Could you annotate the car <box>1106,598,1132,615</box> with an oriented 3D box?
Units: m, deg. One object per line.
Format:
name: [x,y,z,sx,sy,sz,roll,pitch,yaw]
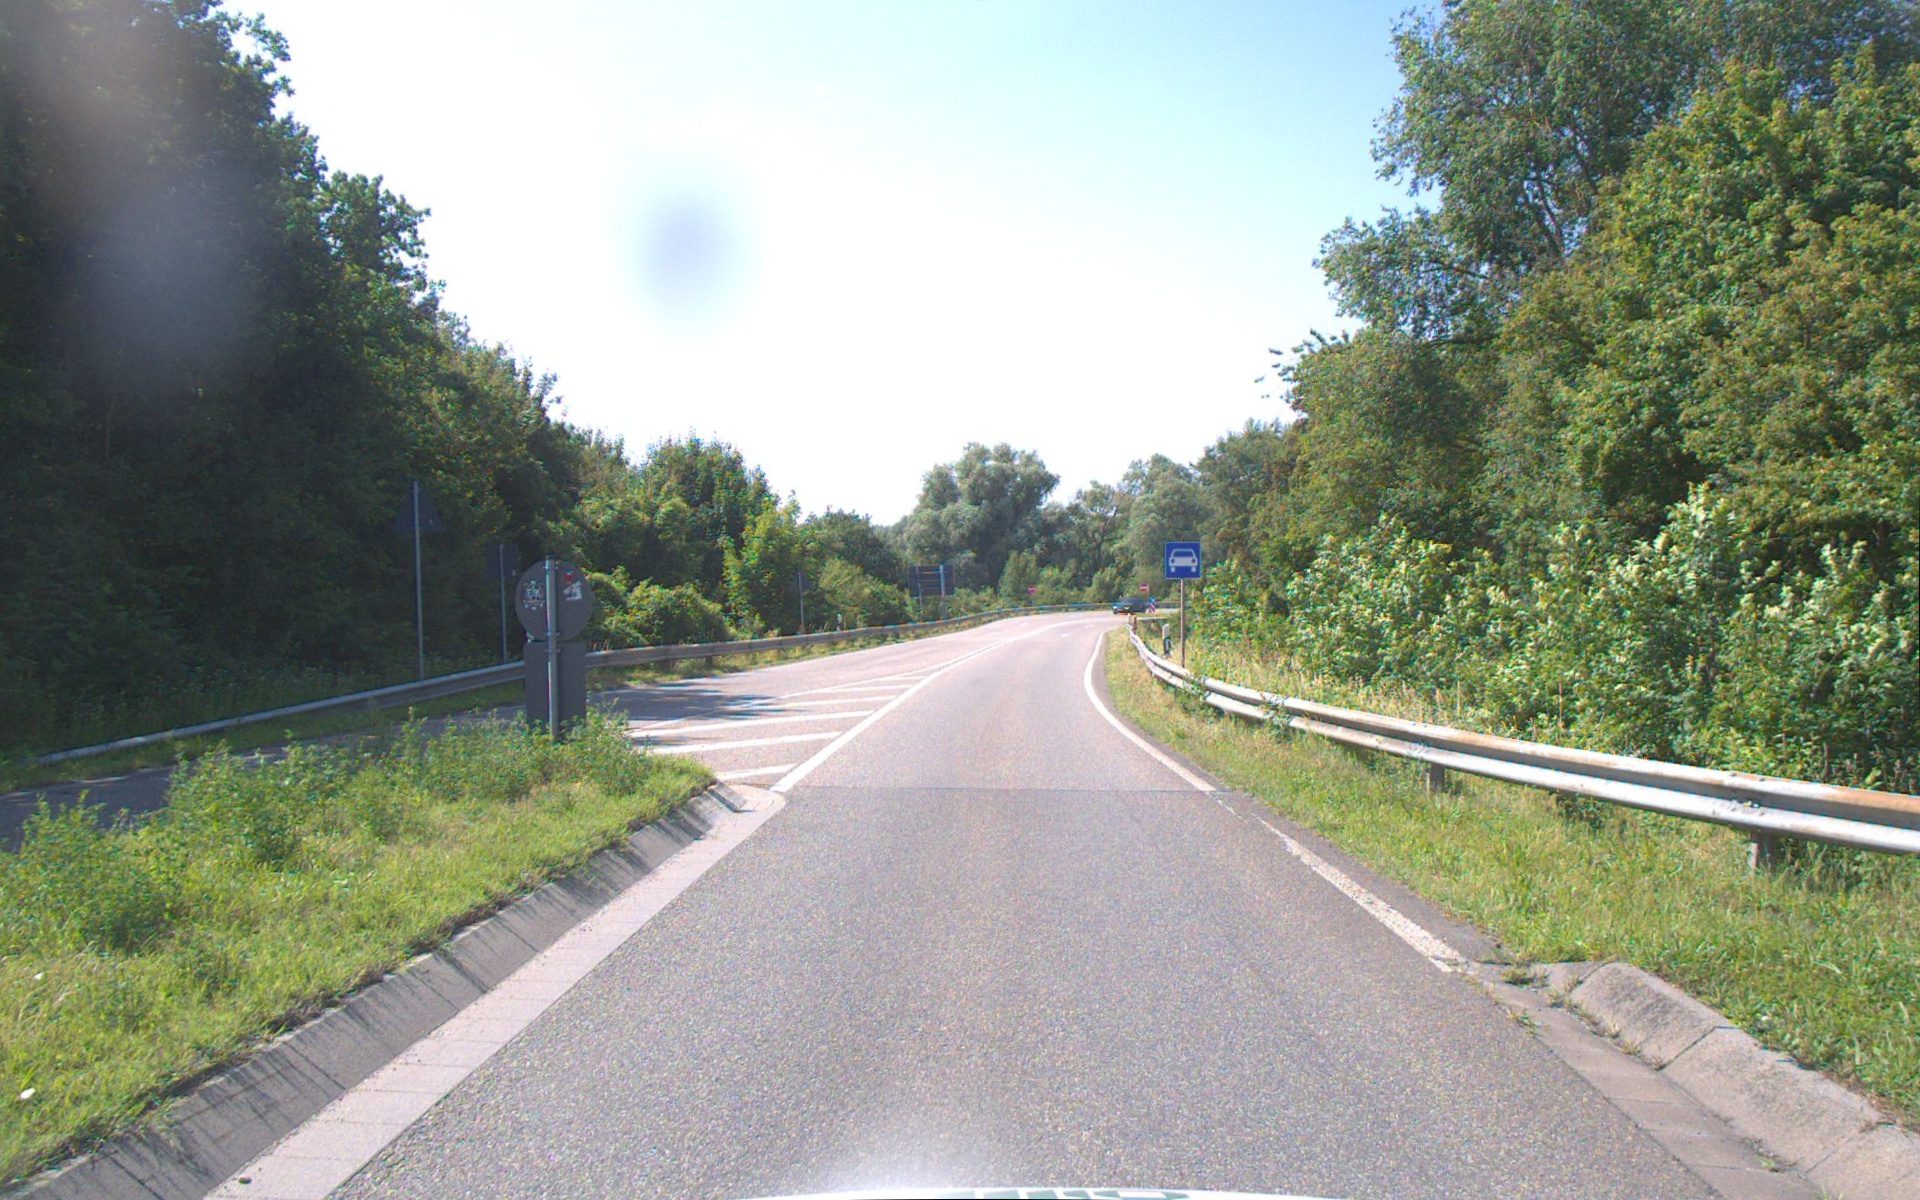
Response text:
car: [14.649,0.612,152.156,1.573,1.499,4.222,0,-1,17]
